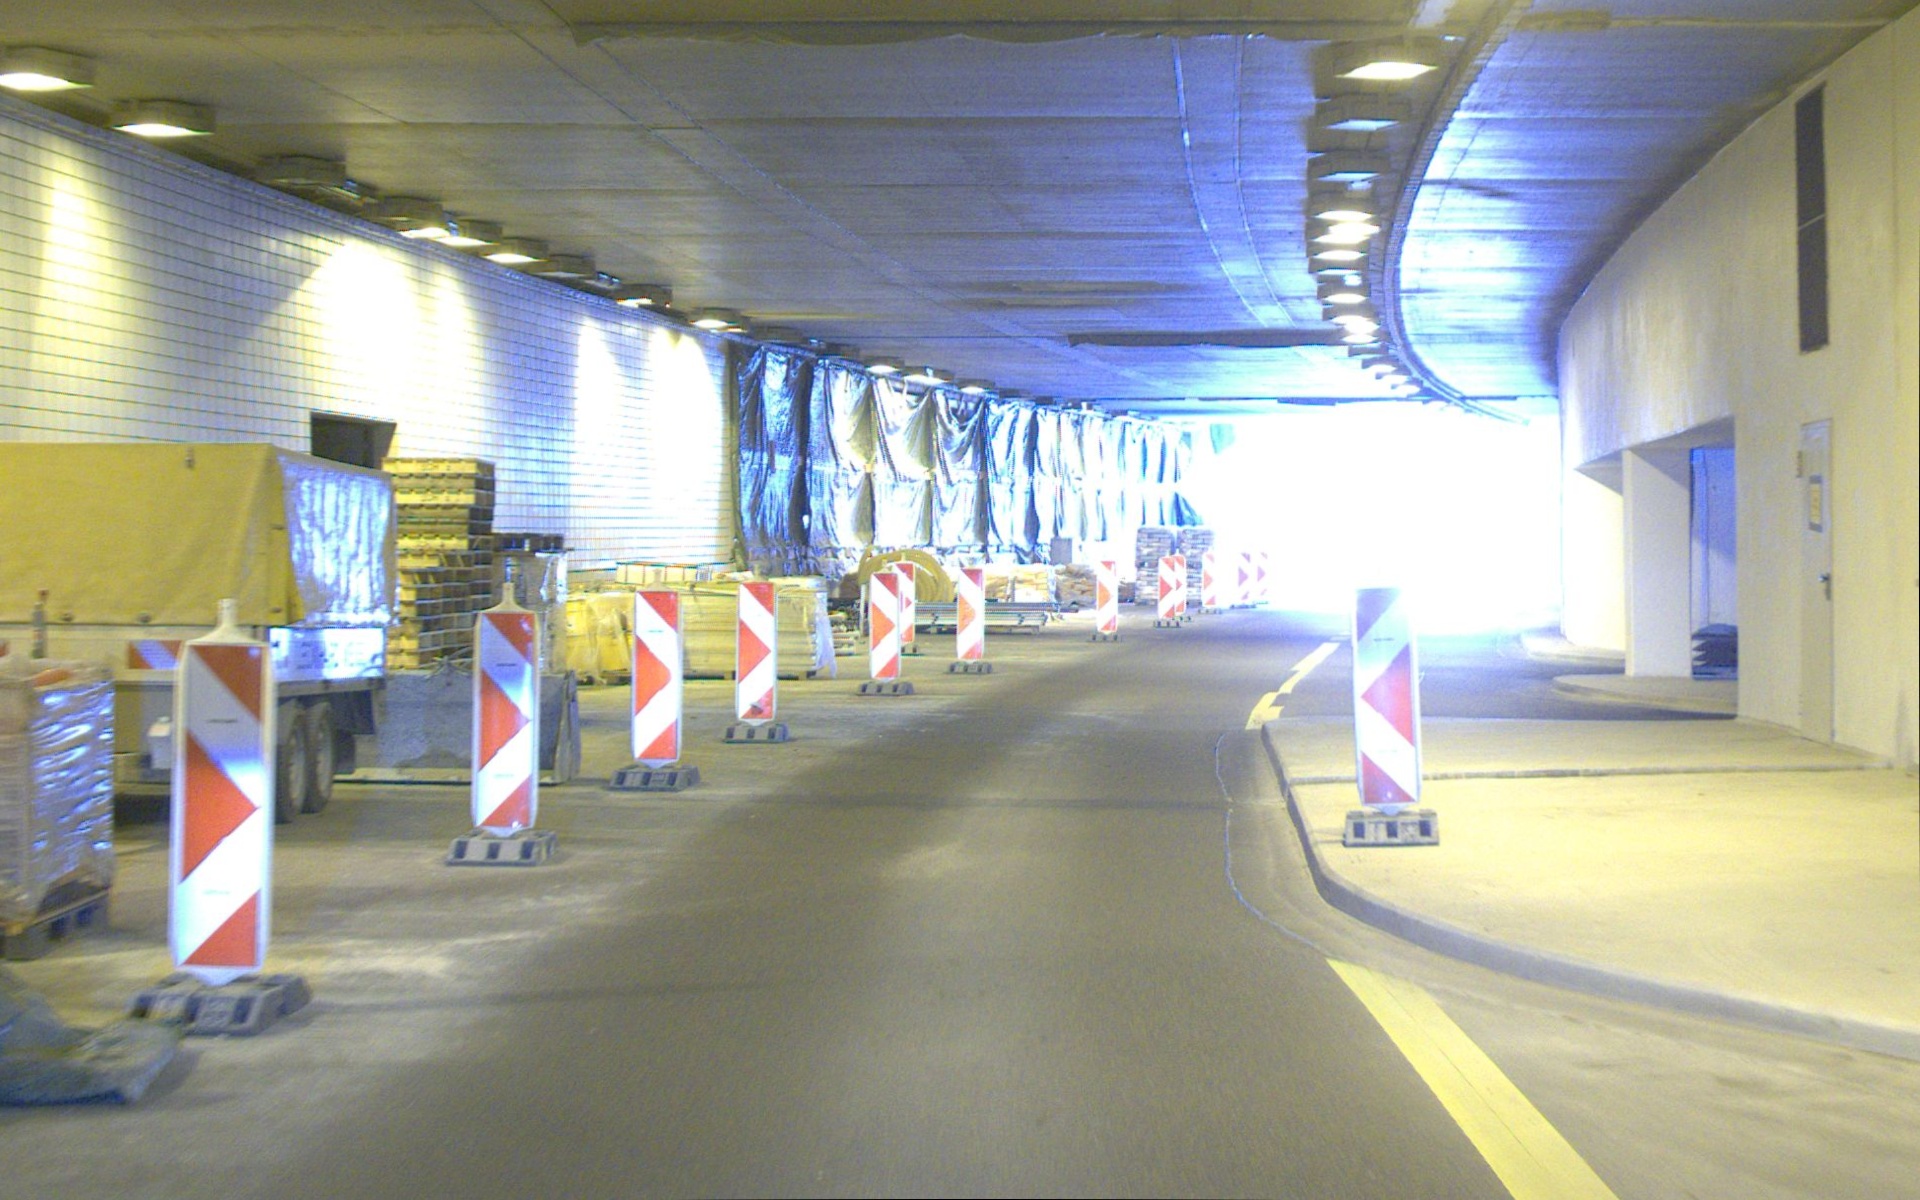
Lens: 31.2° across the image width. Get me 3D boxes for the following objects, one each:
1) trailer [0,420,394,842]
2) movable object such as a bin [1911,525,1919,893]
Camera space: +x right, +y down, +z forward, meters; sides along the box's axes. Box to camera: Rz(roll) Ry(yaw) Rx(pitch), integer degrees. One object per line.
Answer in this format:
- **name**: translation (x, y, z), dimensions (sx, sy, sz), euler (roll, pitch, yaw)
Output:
- **trailer**: translation (-4.382, 0.129, 18.098), dimensions (2.208, 2.007, 3.466), euler (0, 0, 1)
- **movable object such as a bin**: translation (4.310, 0.434, 12.868), dimensions (1.145, 1.440, 1.364), euler (0, 0, 2)
